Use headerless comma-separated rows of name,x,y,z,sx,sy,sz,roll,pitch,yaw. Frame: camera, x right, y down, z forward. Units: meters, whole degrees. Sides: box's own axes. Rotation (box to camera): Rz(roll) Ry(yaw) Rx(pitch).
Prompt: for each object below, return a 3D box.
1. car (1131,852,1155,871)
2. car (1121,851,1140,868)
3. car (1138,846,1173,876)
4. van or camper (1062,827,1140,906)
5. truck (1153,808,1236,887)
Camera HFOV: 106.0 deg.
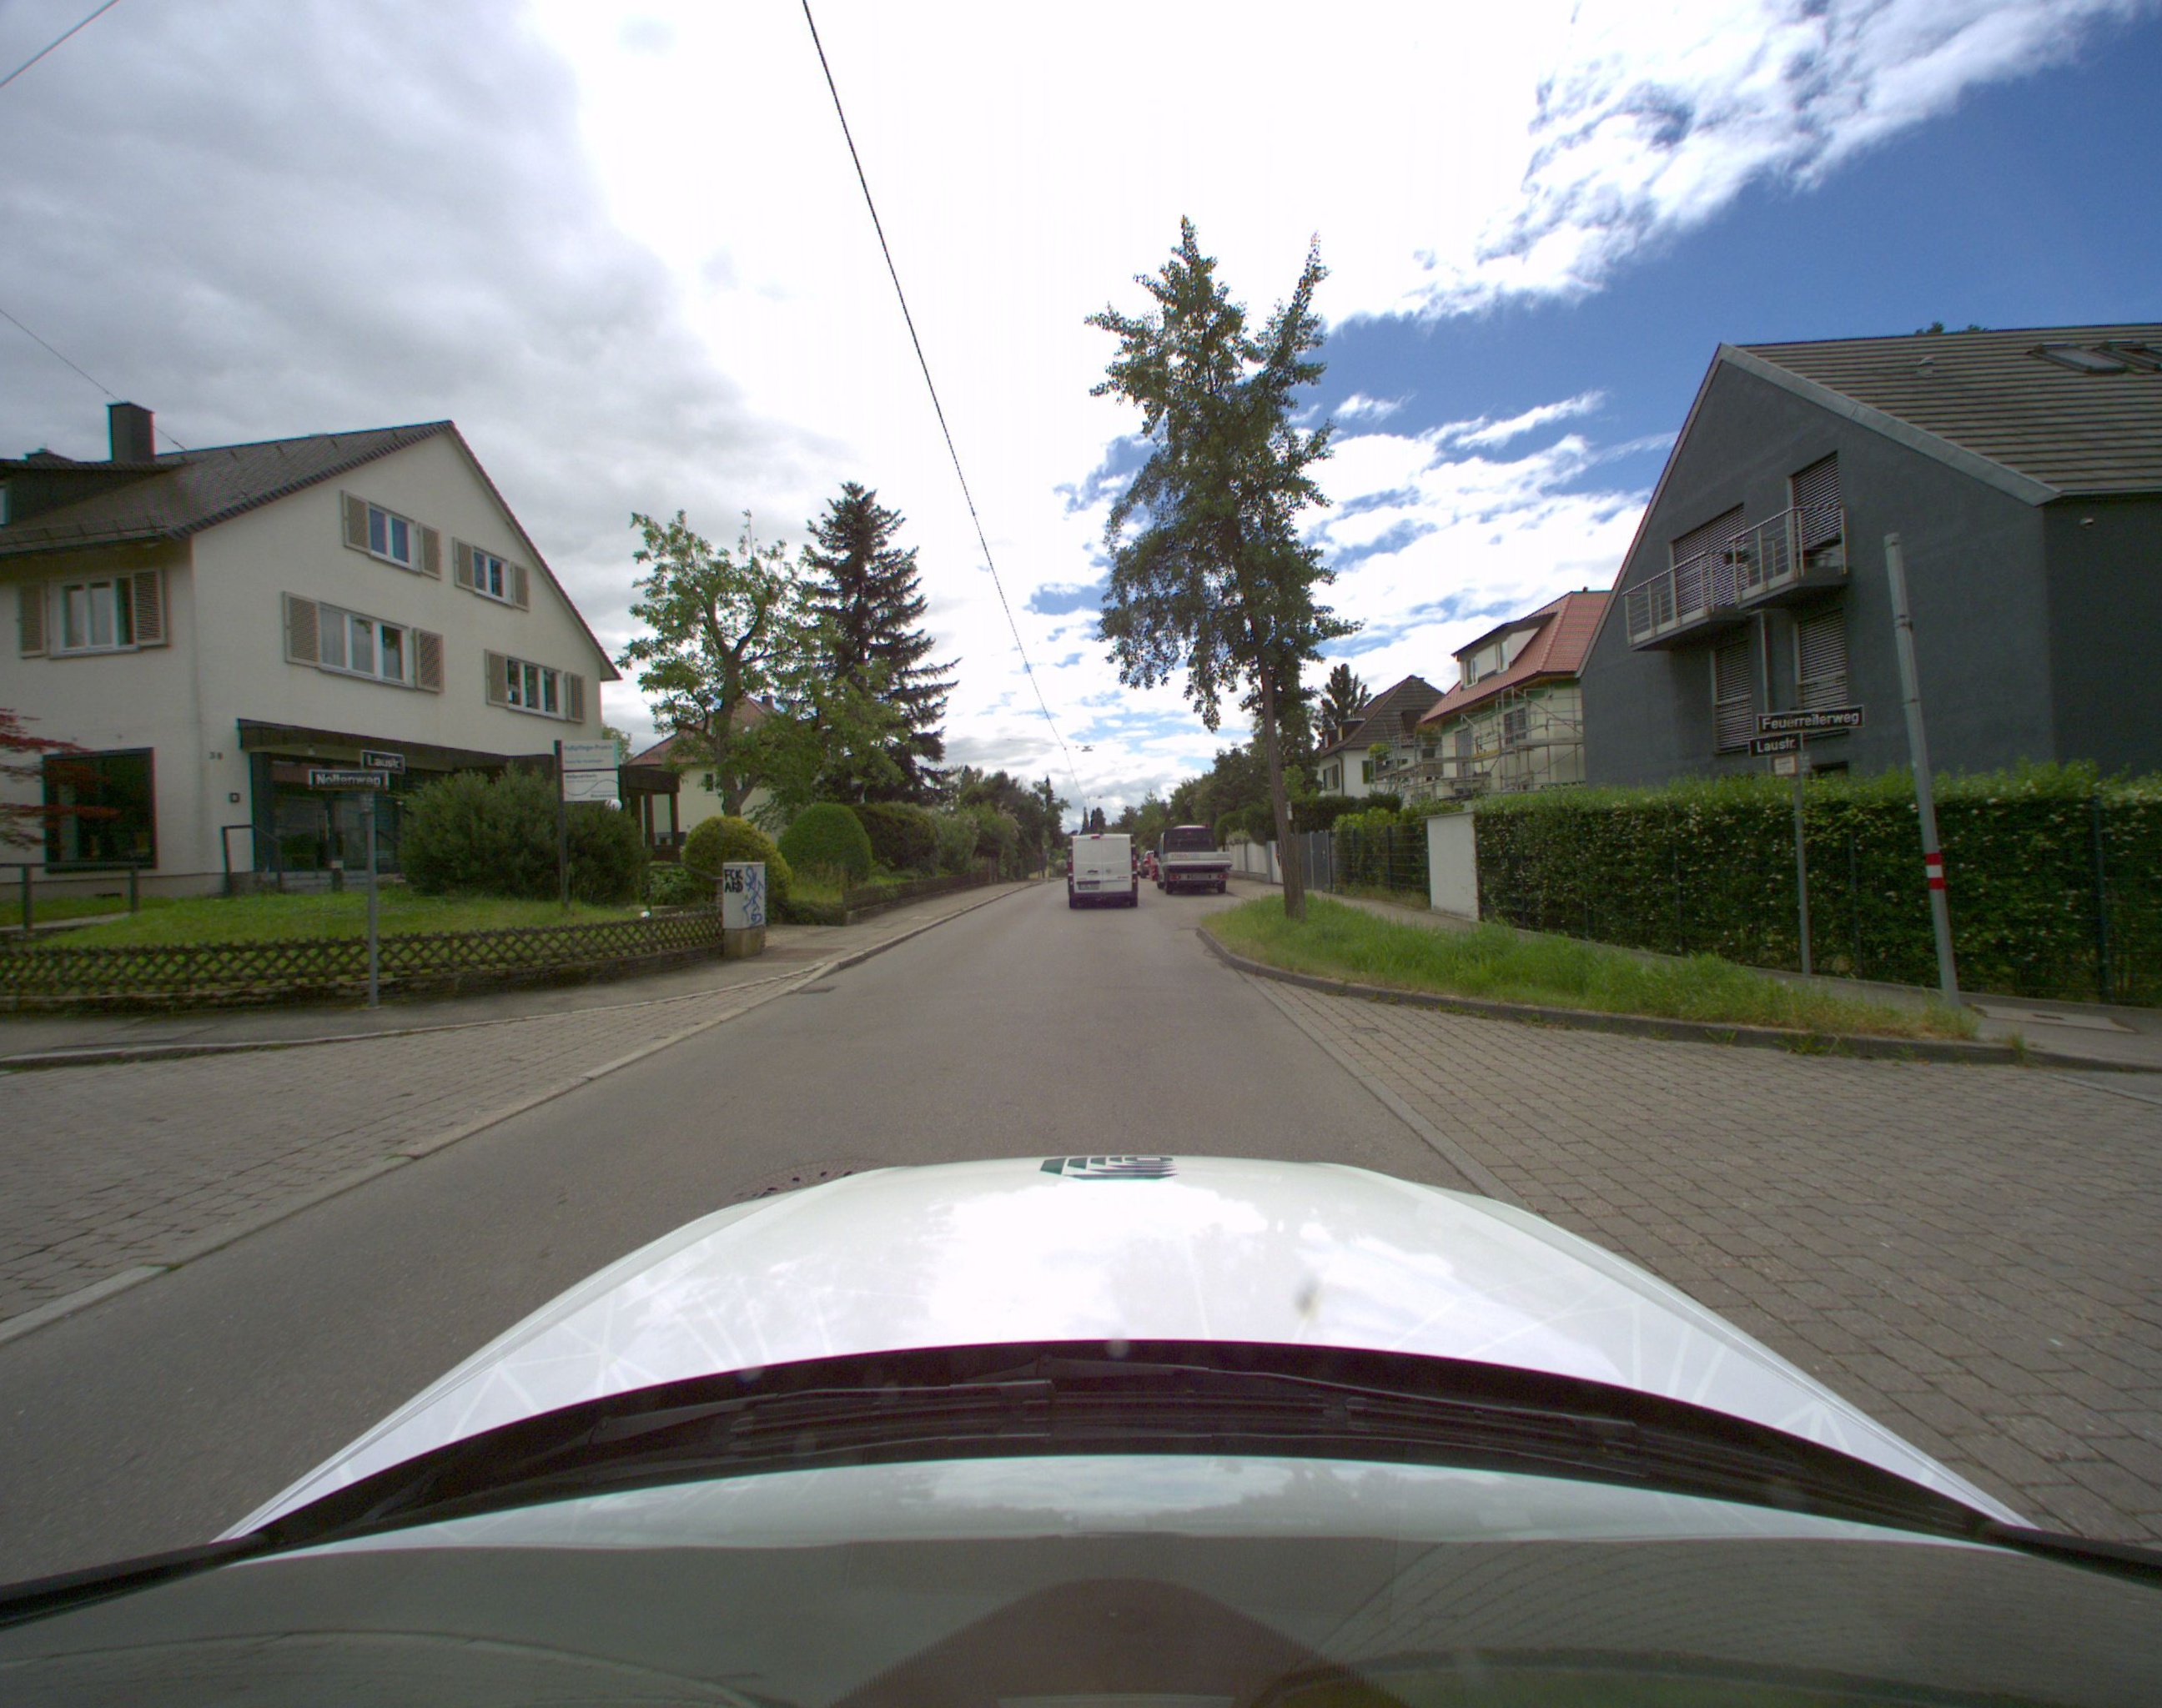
car,5.213,0.621,68.873,1.738,1.447,4.260,-3,-1,1
car,5.176,0.611,85.669,1.738,1.629,4.260,-3,-1,1
car,4.533,0.447,50.080,1.738,1.675,4.186,-3,-1,1
van or camper,0.559,0.356,23.049,1.932,1.954,4.766,-1,-1,1
truck,3.927,-0.217,29.593,2.179,2.471,7.433,-1,0,2
